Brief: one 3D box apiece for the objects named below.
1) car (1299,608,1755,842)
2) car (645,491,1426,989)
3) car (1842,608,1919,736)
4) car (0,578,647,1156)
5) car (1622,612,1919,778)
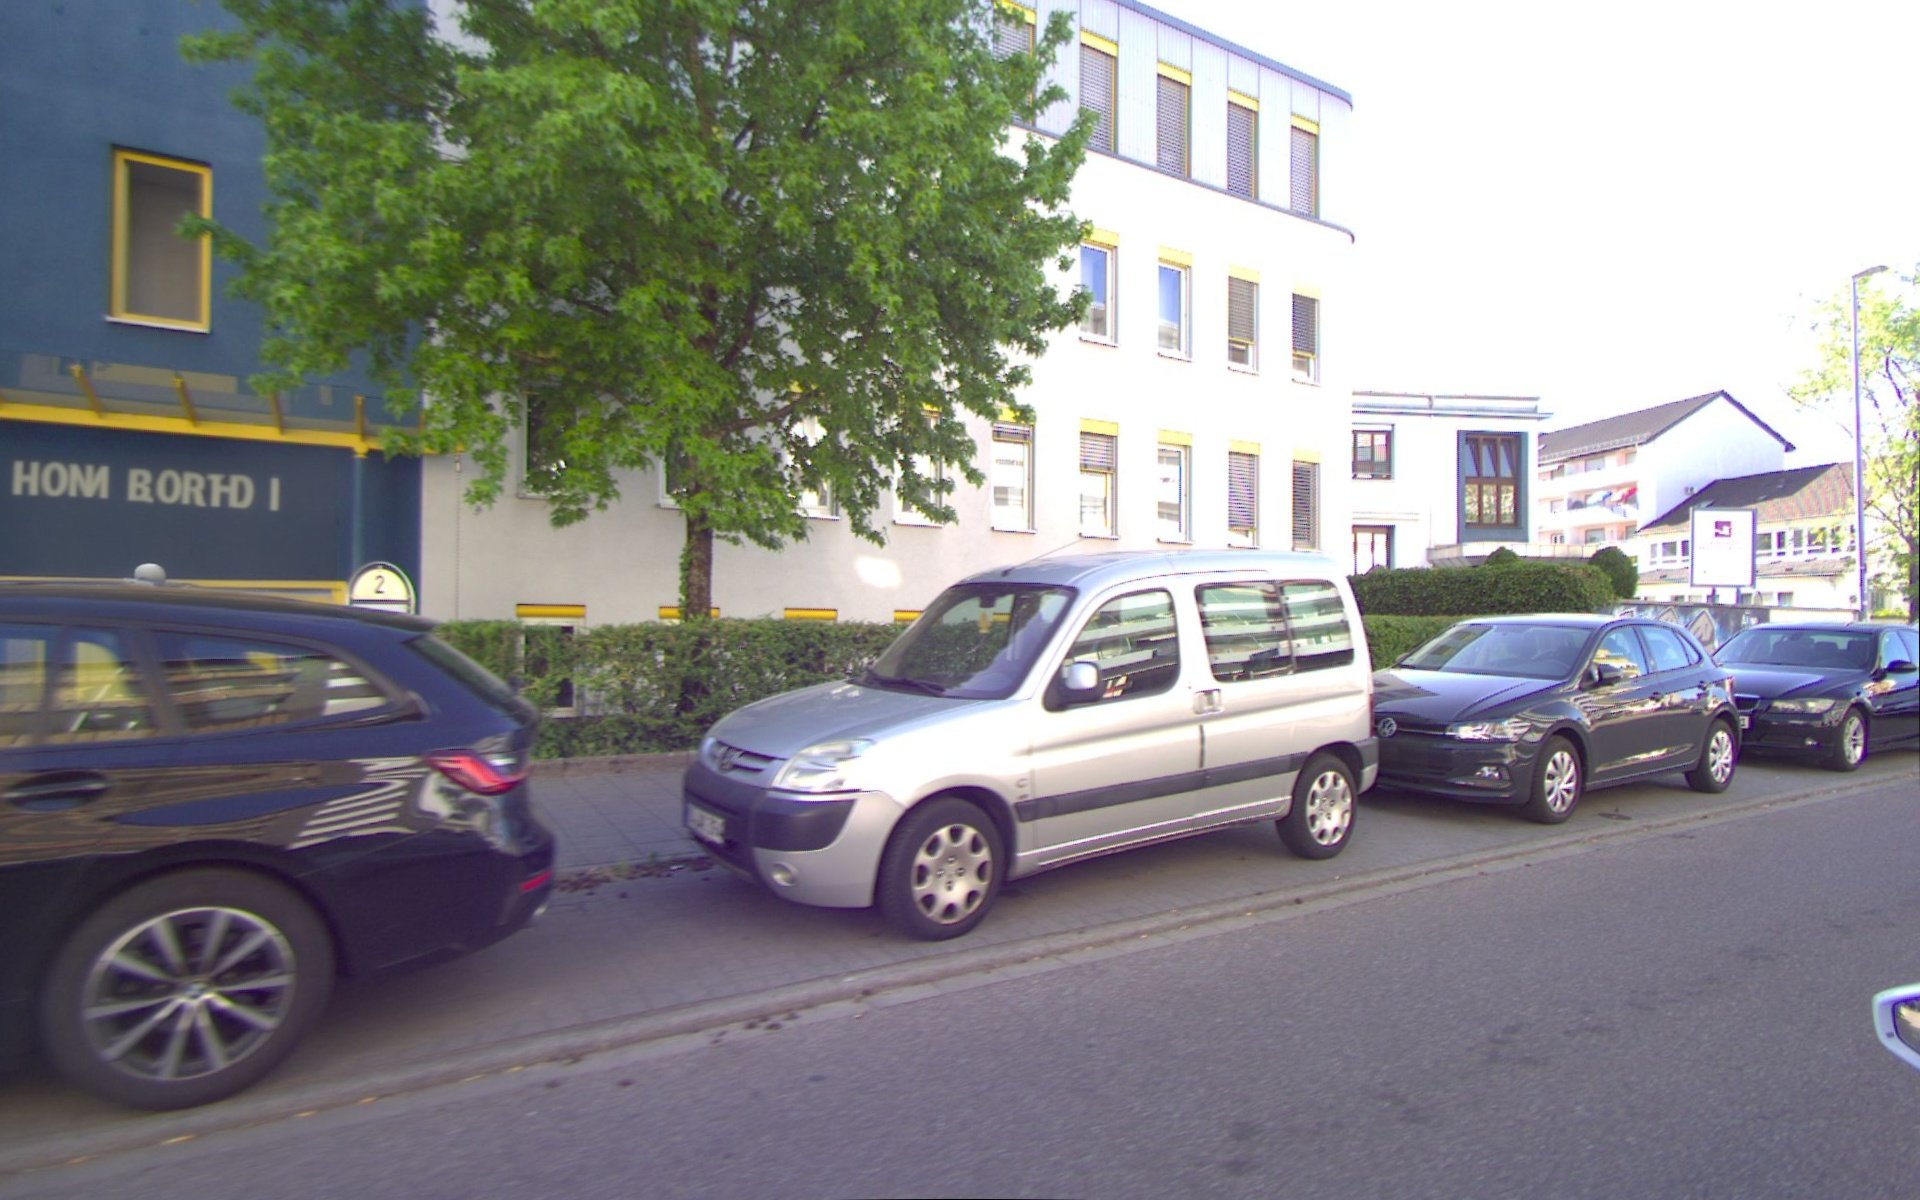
[{"bbox_3d":[4.650,0.827,8.055,3.958,1.459,1.588,1,-1,-34],"label":"car"},{"bbox_3d":[0.617,0.562,5.667,4.295,1.863,1.677,1,-1,-34],"label":"car"},{"bbox_3d":[13.954,0.926,13.621,4.369,1.607,1.712,1,-1,-30],"label":"car"},{"bbox_3d":[-3.437,0.681,2.954,4.557,1.458,1.725,1,-2,-30],"label":"car"},{"bbox_3d":[9.229,0.886,10.851,4.386,1.484,1.718,1,-1,-30],"label":"car"}]
